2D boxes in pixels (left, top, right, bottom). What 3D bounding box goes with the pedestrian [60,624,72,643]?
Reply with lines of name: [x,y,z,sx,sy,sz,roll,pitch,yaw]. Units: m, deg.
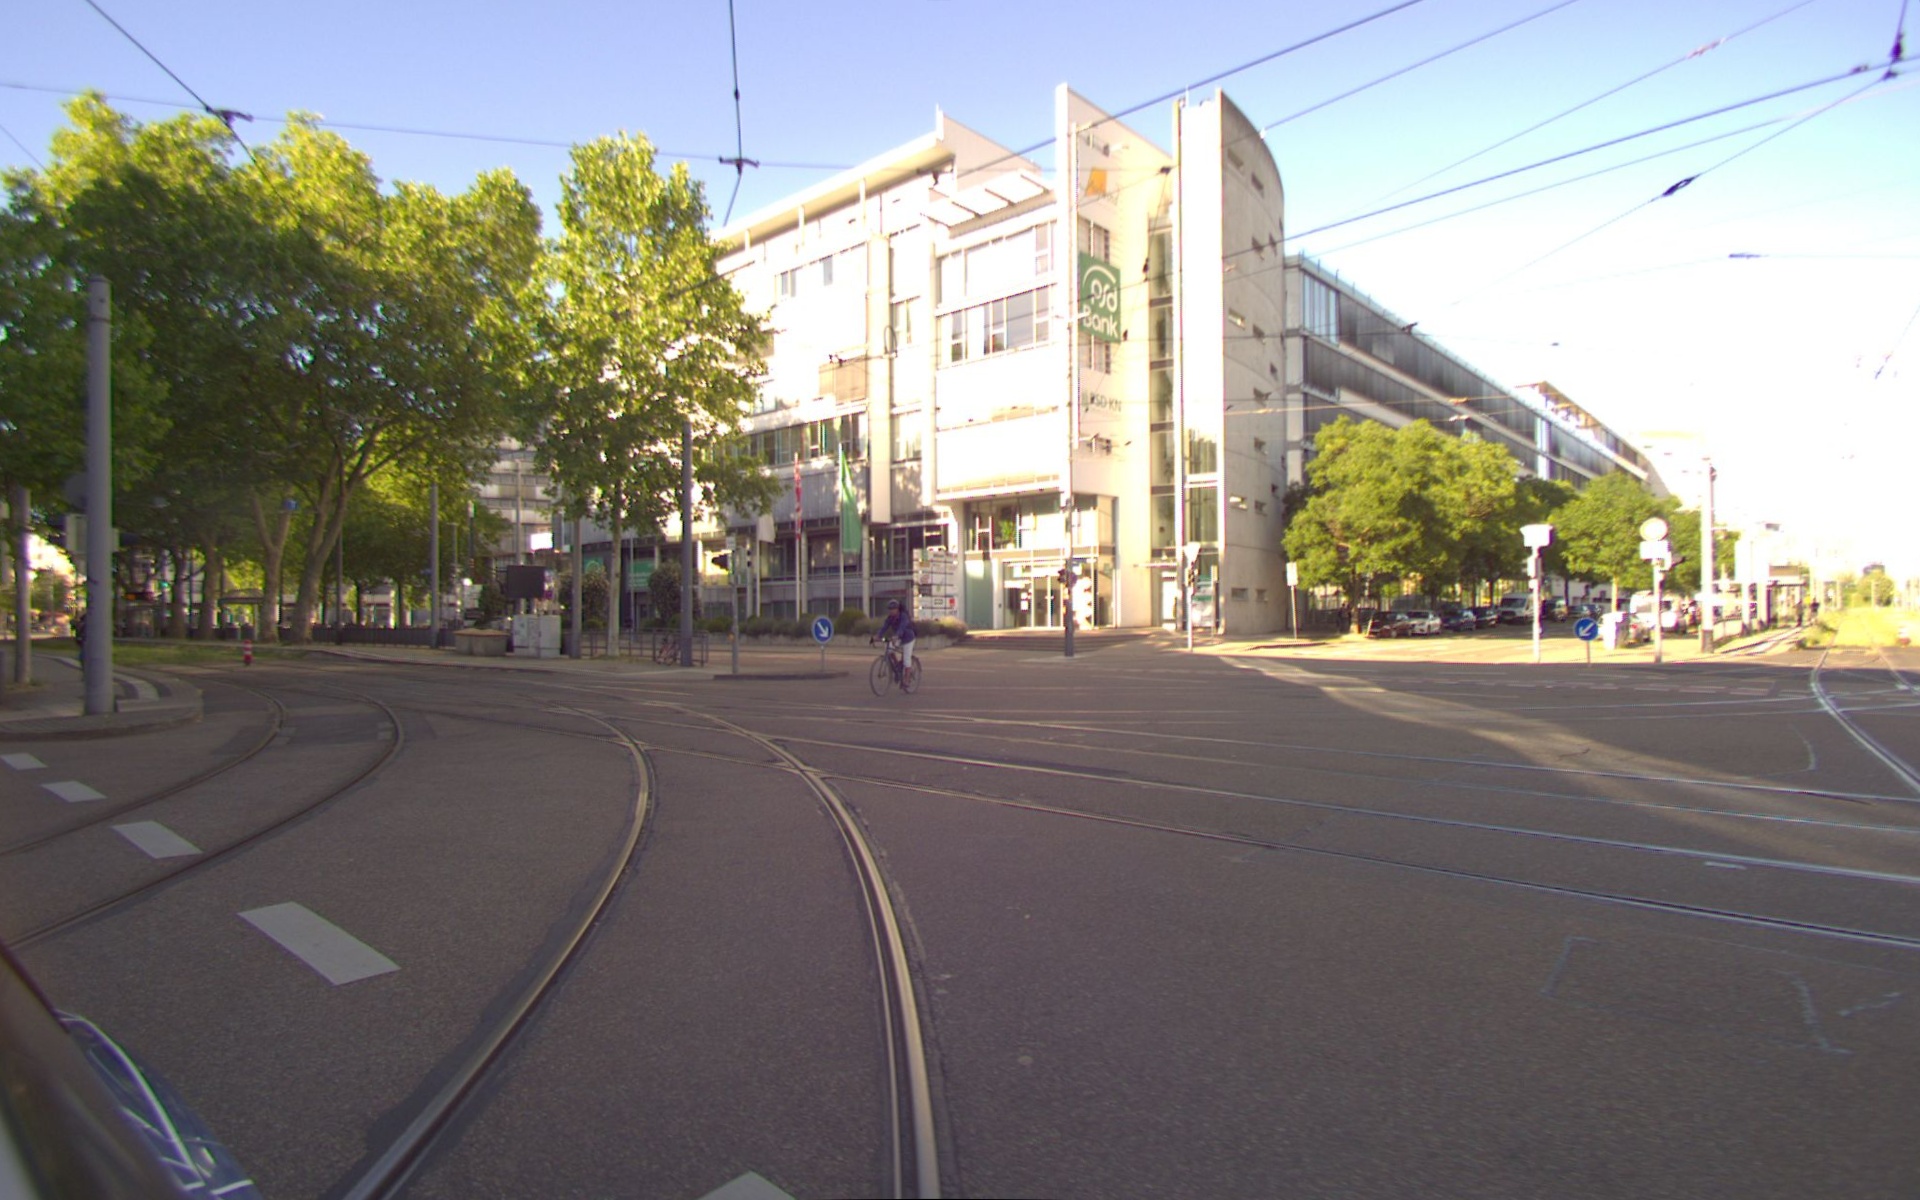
pedestrian: [-80.550,2.996,91.216,0.697,1.708,0.678,-2,-1,34]

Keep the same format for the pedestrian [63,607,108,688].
pedestrian: [-19.574,1.058,22.660,0.725,1.760,0.712,-1,-1,-43]

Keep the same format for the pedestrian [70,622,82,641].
pedestrian: [-80.290,2.856,91.892,0.674,1.767,0.649,-2,-1,34]

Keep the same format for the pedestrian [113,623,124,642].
pedestrian: [-68.170,2.646,81.998,0.549,1.508,0.548,-2,-1,31]

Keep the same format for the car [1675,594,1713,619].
car: [47.381,0.423,65.333,1.752,1.570,3.898,-1,-1,39]

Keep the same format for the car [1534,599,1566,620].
car: [48.429,0.808,83.016,1.734,1.666,3.750,-1,-1,39]

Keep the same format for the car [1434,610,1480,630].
car: [31.060,1.242,63.222,1.807,1.198,3.750,-1,-1,39]

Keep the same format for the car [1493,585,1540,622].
car: [41.824,0.284,75.963,2.230,2.674,5.062,-1,-1,39]

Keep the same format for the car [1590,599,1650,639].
car: [29.647,0.831,45.436,2.104,1.710,3.923,-2,-1,35]

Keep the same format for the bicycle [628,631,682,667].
bicycle: [-8.656,1.362,28.659,0.803,0.953,1.728,0,-1,-42]

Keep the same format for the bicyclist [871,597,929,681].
bicyclist: [-1.092,0.707,18.638,0.719,1.505,0.874,-1,-1,25]

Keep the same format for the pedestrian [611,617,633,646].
pedestrian: [-19.137,1.761,57.333,0.767,1.604,0.896,-2,-2,42]

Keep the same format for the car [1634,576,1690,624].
car: [38.570,-0.003,55.534,2.180,2.524,4.343,-1,-1,39]

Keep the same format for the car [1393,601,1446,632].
car: [26.217,0.935,57.704,1.734,1.666,3.900,-1,-1,41]

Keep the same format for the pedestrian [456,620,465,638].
pedestrian: [-46.198,2.695,93.656,0.571,1.616,0.581,-1,-1,-43]

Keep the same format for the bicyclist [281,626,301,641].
bicyclist: [-56.403,2.835,85.381,1.372,1.259,0.995,-2,0,38]

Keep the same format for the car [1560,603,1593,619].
car: [56.366,1.008,92.503,1.998,1.356,3.948,-1,-1,39]

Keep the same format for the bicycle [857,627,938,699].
bicycle: [-1.118,1.118,18.571,0.587,1.198,2.025,-1,-1,25]
